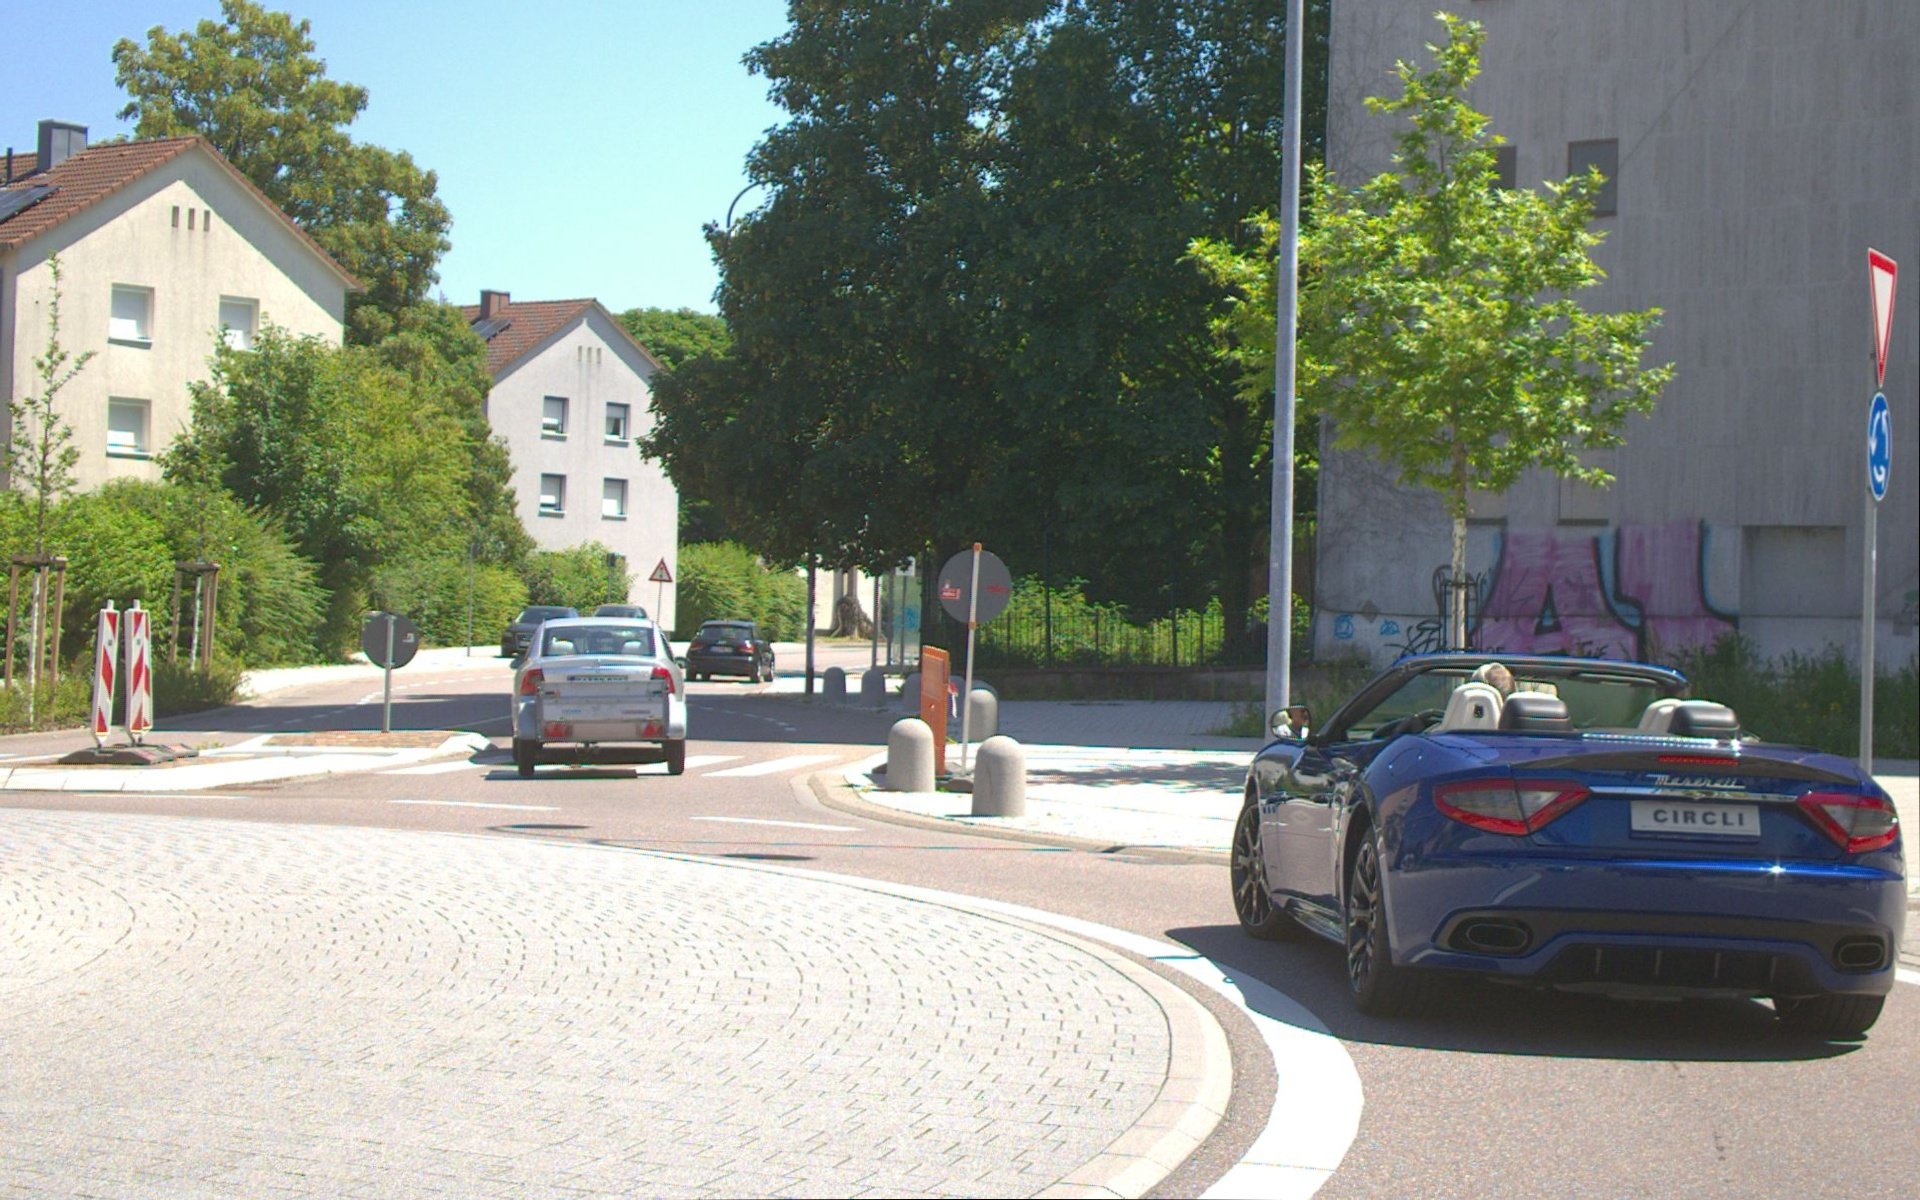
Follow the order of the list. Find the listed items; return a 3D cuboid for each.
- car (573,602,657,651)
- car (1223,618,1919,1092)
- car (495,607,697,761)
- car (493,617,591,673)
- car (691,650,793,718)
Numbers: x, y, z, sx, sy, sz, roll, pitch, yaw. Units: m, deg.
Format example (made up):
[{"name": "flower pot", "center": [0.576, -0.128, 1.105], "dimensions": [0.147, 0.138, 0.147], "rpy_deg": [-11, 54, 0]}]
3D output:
[{"name": "car", "center": [-10.474, 0.798, 104.589], "dimensions": [1.739, 1.431, 3.709], "rpy_deg": [0, 0, 7]}, {"name": "car", "center": [2.260, 0.908, 13.644], "dimensions": [1.870, 1.525, 4.506], "rpy_deg": [2, -2, -2]}, {"name": "car", "center": [-3.687, 0.793, 34.362], "dimensions": [1.738, 1.431, 3.711], "rpy_deg": [0, 0, -10]}, {"name": "car", "center": [-11.176, 1.181, 92.127], "dimensions": [1.739, 1.431, 3.709], "rpy_deg": [0, 0, 7]}, {"name": "car", "center": [-4.972, 1.907, 78.856], "dimensions": [1.739, 1.431, 3.710], "rpy_deg": [0, 0, 6]}]
